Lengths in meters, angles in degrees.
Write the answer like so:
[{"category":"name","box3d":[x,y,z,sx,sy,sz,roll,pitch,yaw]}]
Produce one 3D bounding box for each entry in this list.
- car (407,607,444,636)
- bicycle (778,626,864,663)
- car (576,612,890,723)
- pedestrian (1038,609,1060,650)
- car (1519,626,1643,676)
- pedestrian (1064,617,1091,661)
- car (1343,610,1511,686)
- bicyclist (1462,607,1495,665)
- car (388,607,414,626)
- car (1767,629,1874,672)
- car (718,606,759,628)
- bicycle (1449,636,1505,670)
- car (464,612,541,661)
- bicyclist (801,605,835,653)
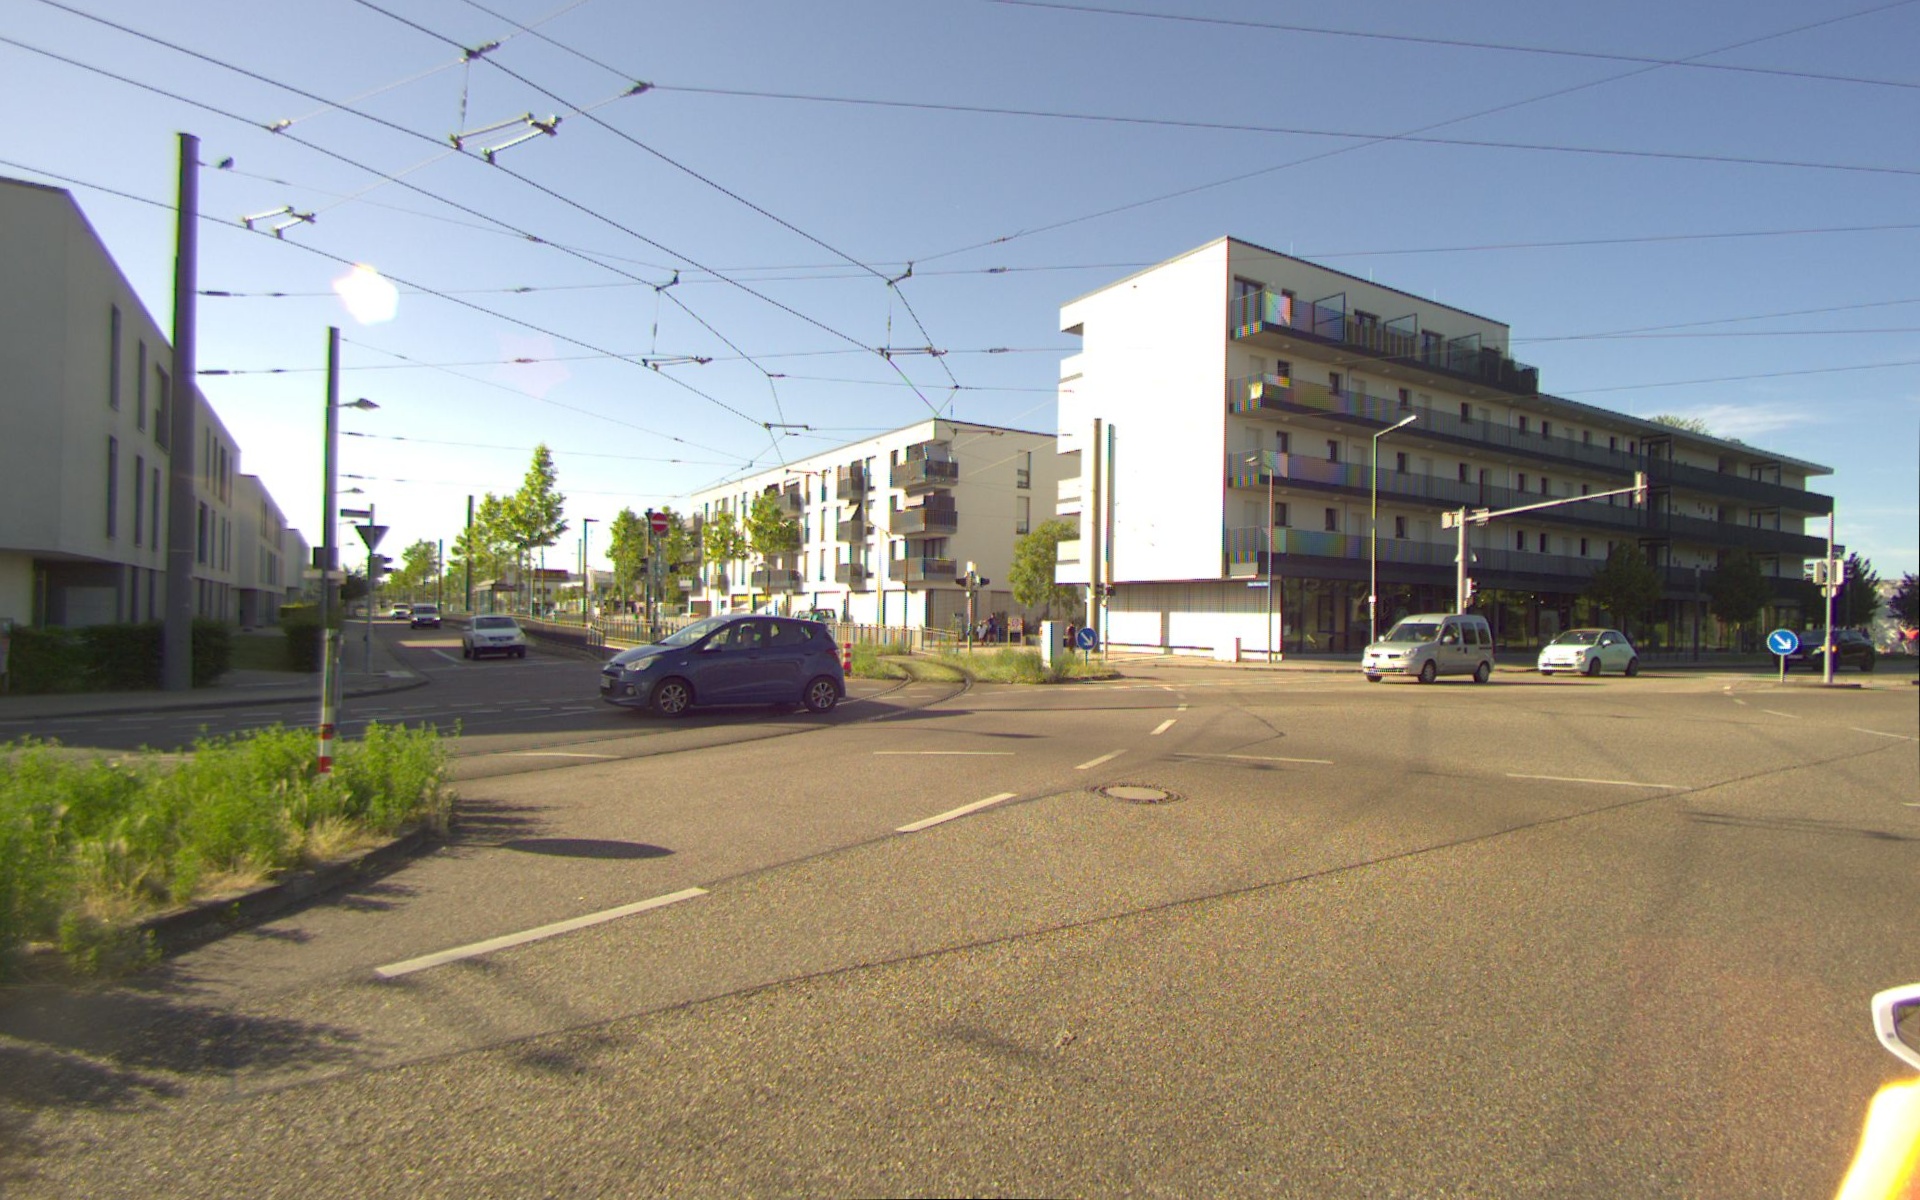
[{"category":"car","box3d":[-38.551,1.537,72.365,1.979,2.040,3.963,2,-1,-34]},{"category":"bicycle","box3d":[-4.776,1.536,34.478,2.787,1.214,0.898,1,-1,-25]},{"category":"car","box3d":[-3.400,0.971,15.454,4.409,1.476,1.684,2,-1,-35]},{"category":"pedestrian","box3d":[3.756,1.235,42.293,0.738,1.709,0.575,3,1,24]},{"category":"car","box3d":[19.951,1.634,32.273,3.502,1.506,1.984,1,-3,-30]},{"category":"pedestrian","box3d":[4.861,1.606,41.662,0.934,1.756,0.646,2,1,-9]},{"category":"car","box3d":[11.999,1.196,25.737,4.316,1.778,1.982,2,-1,-34]},{"category":"bicyclist","box3d":[18.413,1.280,35.669,0.805,2.040,0.785,2,-1,-42]},{"category":"car","box3d":[-60.530,1.811,108.778,1.981,2.040,3.960,2,-1,-36]},{"category":"car","box3d":[34.158,1.983,39.858,4.688,1.555,1.956,2,-1,-32]},{"category":"car","box3d":[-17.552,1.324,79.430,1.977,1.574,3.966,2,1,-31]},{"category":"bicycle","box3d":[18.377,1.871,35.690,0.739,1.159,1.622,2,-1,-43]},{"category":"car","box3d":[-17.061,1.319,37.393,1.988,1.687,3.963,1,-1,-34]},{"category":"bicyclist","box3d":[-4.879,1.002,34.433,0.901,1.613,0.889,1,-1,-25]}]
